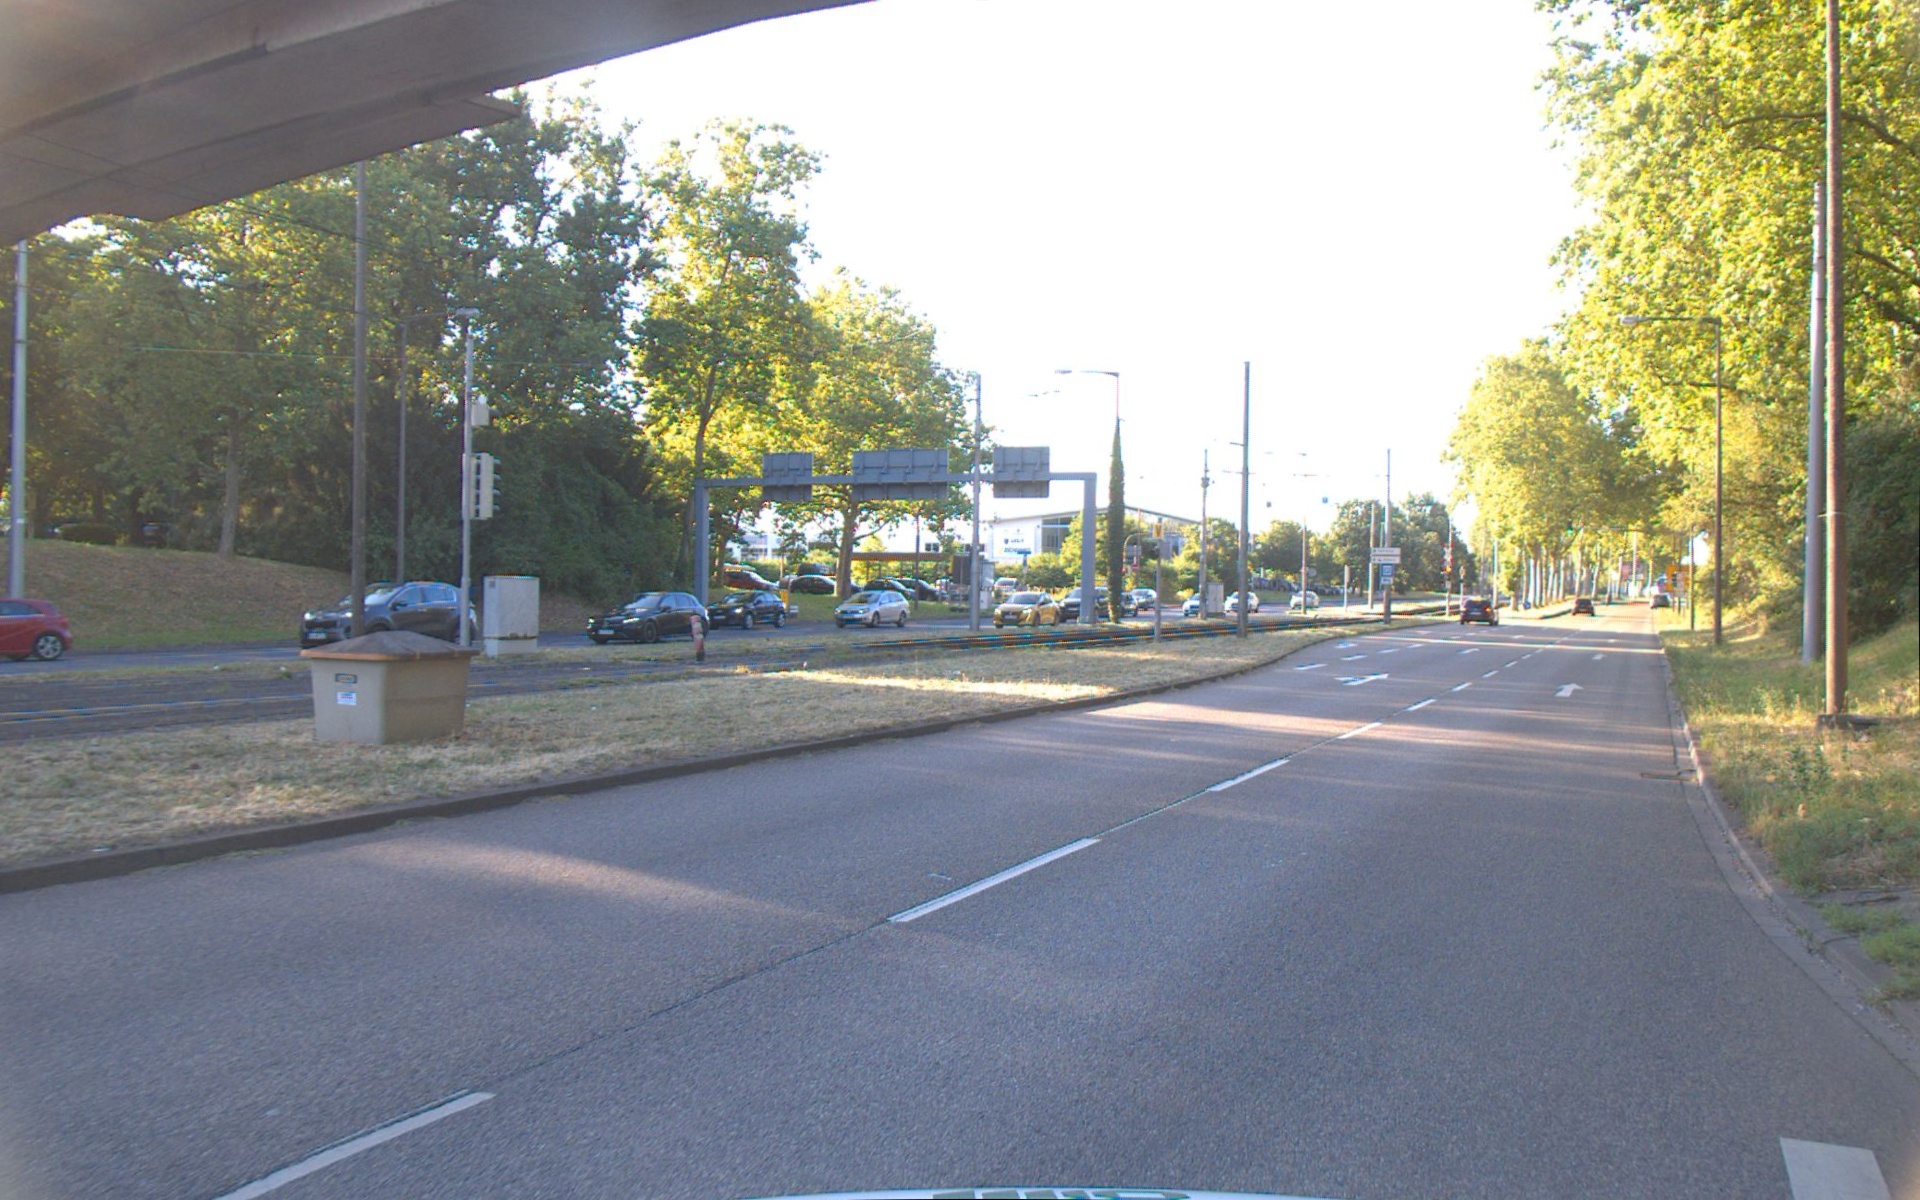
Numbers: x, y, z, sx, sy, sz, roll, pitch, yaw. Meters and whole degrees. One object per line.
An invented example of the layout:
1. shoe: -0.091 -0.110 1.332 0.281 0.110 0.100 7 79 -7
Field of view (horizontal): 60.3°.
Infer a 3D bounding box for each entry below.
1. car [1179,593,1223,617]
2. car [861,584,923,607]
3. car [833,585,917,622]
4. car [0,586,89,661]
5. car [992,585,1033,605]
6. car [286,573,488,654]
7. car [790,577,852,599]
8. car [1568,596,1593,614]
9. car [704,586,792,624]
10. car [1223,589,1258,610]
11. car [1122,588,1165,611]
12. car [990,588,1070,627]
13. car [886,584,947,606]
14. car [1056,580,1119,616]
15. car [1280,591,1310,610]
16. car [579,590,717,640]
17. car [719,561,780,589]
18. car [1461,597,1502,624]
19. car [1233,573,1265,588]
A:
1. car: 15.354 0.323 105.137 1.801 1.440 4.600 1 0 21
2. car: -4.762 -0.329 115.388 3.979 1.411 1.781 3 1 30
3. car: -3.446 0.171 68.123 1.652 1.440 4.436 2 0 23
4. car: -22.099 0.507 36.936 1.760 1.679 4.342 1 0 35
5. car: 4.222 -0.411 133.214 1.805 1.467 3.997 3 1 25
6. car: -12.793 0.305 37.221 1.755 1.679 4.355 1 0 24
7. car: -9.897 -0.874 117.664 3.975 1.411 1.783 3 1 25
8. car: 51.810 0.452 138.132 1.756 1.427 3.687 2 0 24
9. car: -8.424 0.212 66.056 1.652 1.440 4.192 2 0 21
10. car: 20.031 -0.058 118.117 1.619 1.440 4.258 2 1 21
11. car: 12.932 -0.020 116.595 1.801 1.507 4.599 2 1 22
12. car: 2.814 0.305 65.741 1.802 1.440 4.016 1 0 24
13. car: -3.119 -0.376 118.256 3.979 1.411 1.781 3 1 30
14. car: 6.365 -0.091 82.208 1.801 1.683 4.435 2 1 23
15. car: 27.933 0.044 137.914 1.620 1.440 4.258 2 1 23
16. car: -8.824 0.434 47.136 1.653 1.333 4.306 1 0 25
17. car: -15.283 -1.829 119.886 3.909 1.892 1.998 2 0 26
18. car: 28.805 0.597 91.300 1.756 1.427 3.687 1 0 24
19. car: 30.299 -2.043 173.436 3.077 1.416 1.456 3 1 20
